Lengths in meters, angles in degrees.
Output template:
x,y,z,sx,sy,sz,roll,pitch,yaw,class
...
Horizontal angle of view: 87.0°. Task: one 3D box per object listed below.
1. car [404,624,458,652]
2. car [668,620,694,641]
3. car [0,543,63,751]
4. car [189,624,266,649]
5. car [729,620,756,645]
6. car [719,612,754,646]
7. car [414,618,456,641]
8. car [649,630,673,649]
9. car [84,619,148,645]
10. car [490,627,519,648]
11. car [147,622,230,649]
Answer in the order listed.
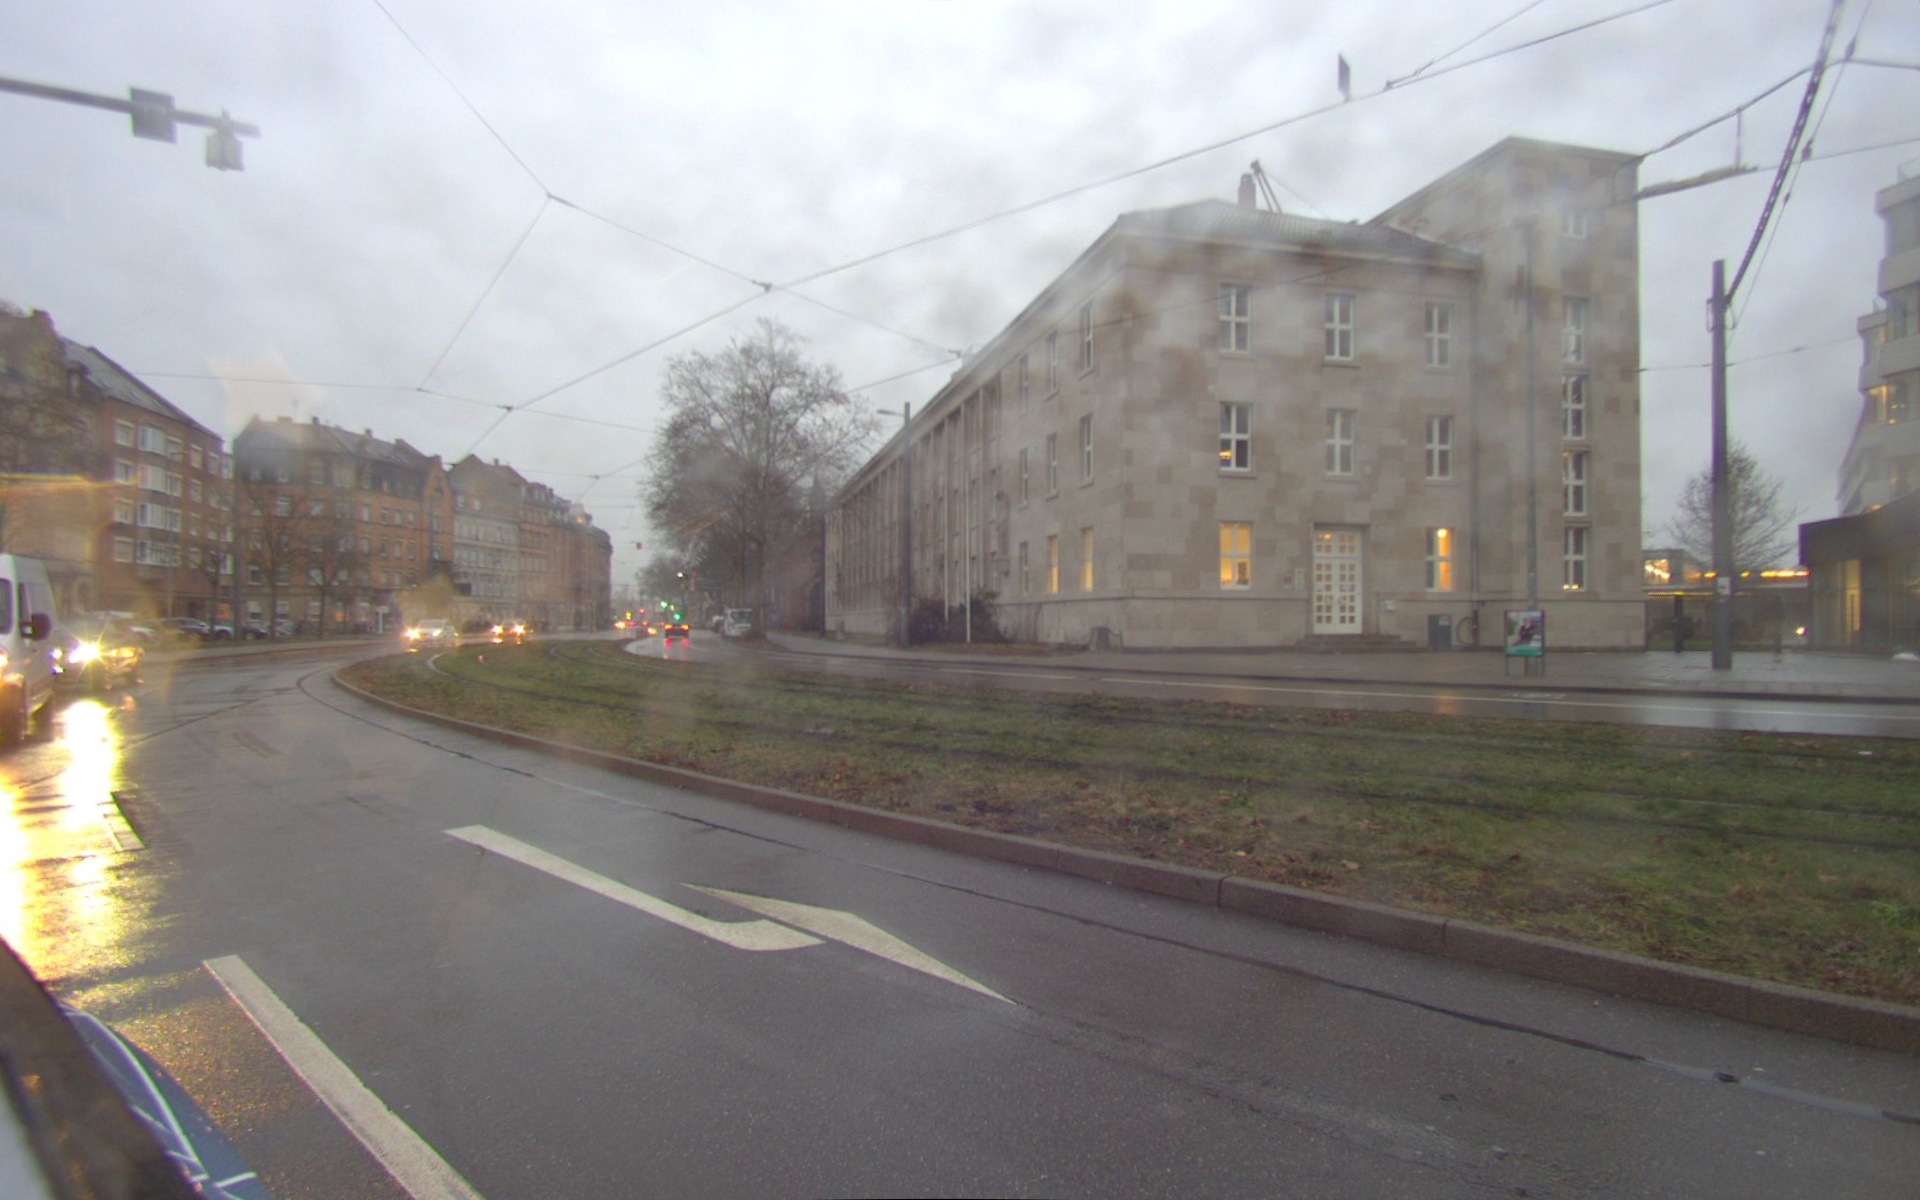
x,y,z,sx,sy,sz,roll,pitch,yaw,class
-27.518,1.955,52.728,1.865,1.424,3.959,0,-2,-18,car
-22.098,2.395,80.264,1.635,1.411,4.533,-2,0,-11,car
-13.523,0.610,13.354,2.096,2.398,5.650,0,-1,-37,car
-44.638,2.220,61.698,3.706,1.364,1.605,-2,0,-39,car
-13.333,1.977,61.894,1.535,1.439,2.963,0,0,-14,car
-14.691,1.859,66.308,1.966,2.029,4.522,-2,0,-15,car
-37.813,2.118,72.965,1.695,1.630,3.948,0,-2,-13,car
-25.632,3.356,86.651,1.795,1.446,4.670,-2,0,-18,car
-53.291,2.012,63.967,1.449,1.555,3.881,0,-2,-12,car
-33.288,2.728,74.031,1.809,1.497,3.533,0,-2,-22,car
-43.937,1.999,57.656,3.706,1.364,1.605,-2,0,-39,car
